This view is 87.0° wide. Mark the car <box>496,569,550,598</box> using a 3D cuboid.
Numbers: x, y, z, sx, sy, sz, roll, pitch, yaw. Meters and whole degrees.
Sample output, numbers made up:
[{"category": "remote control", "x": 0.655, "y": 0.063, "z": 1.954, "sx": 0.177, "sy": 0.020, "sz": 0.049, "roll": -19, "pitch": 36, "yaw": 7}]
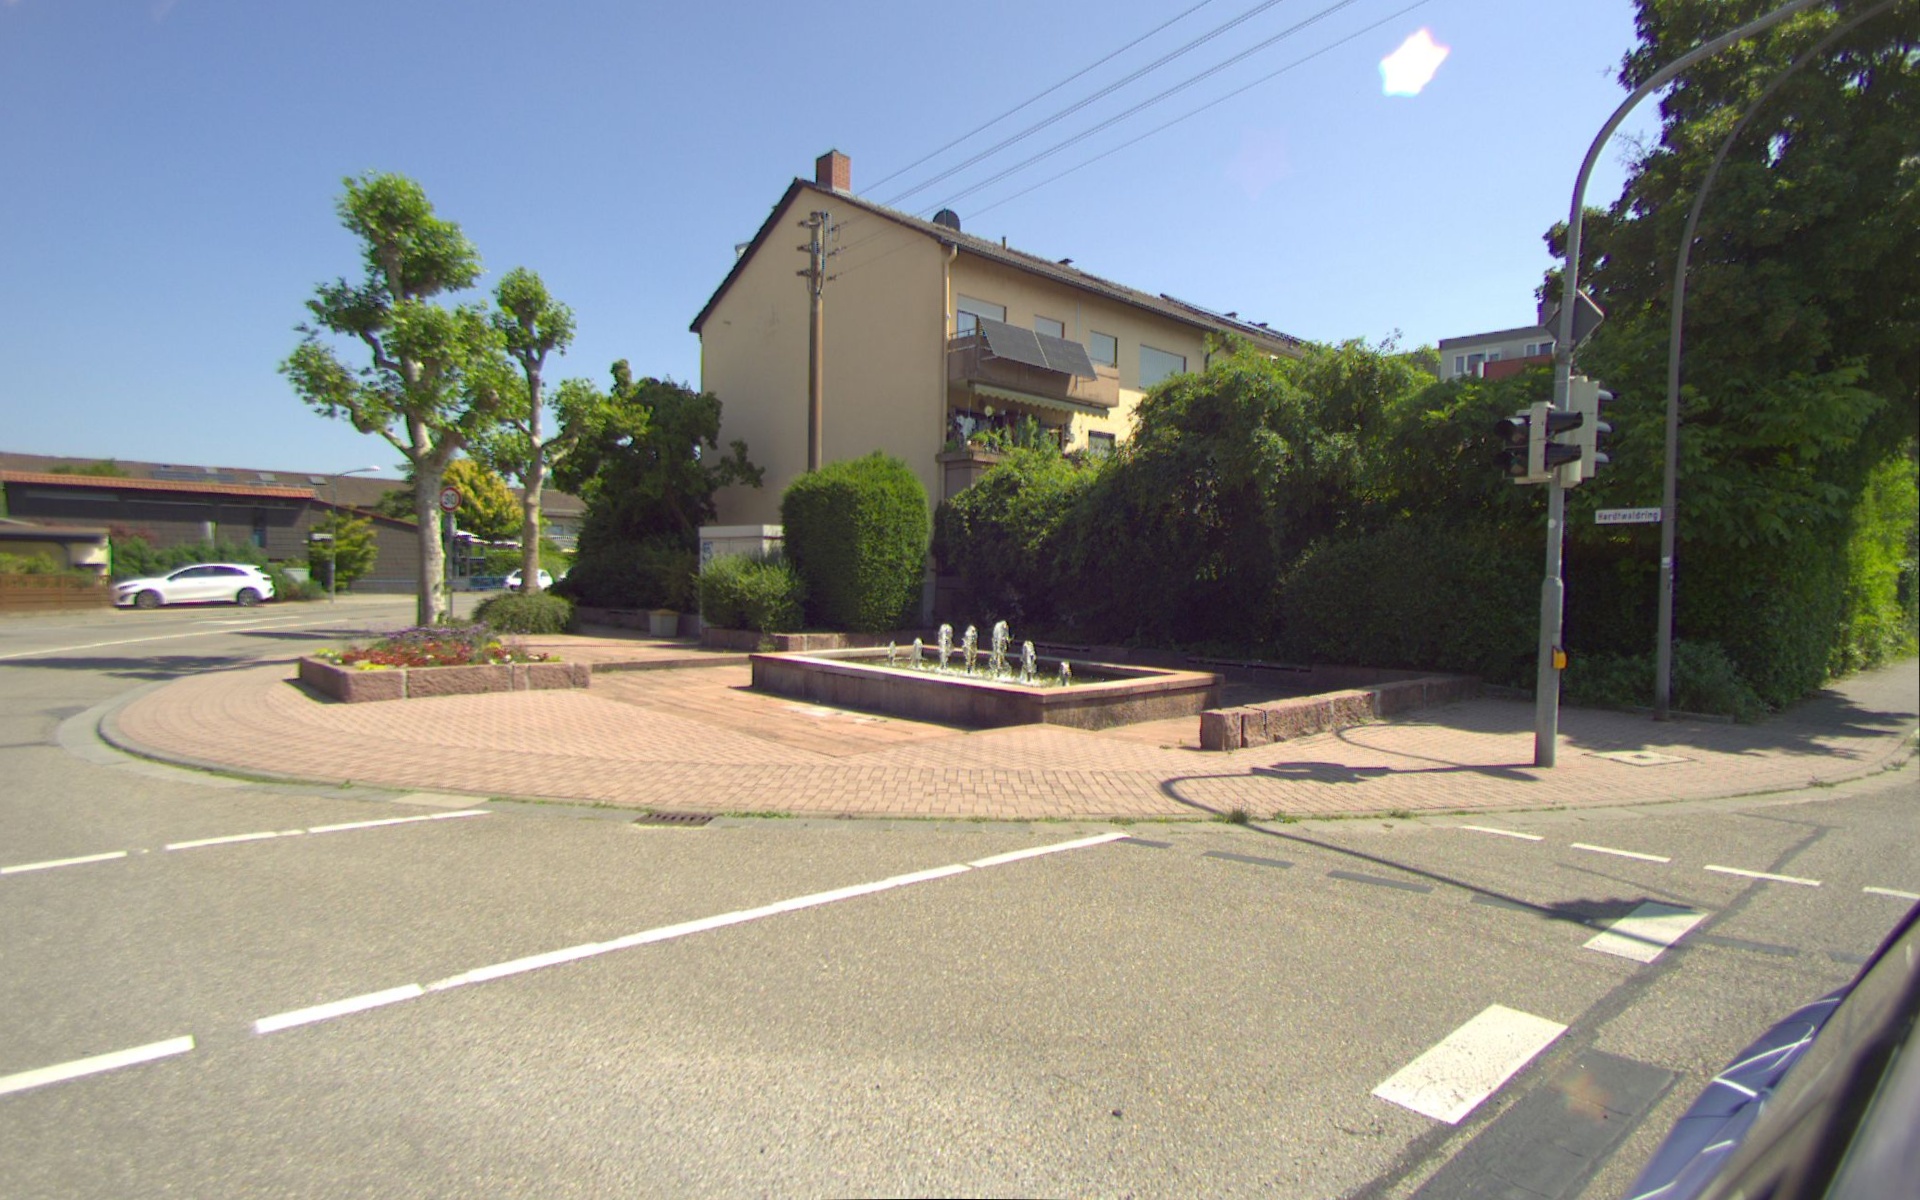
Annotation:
[{"category": "car", "x": -23.628, "y": -0.914, "z": 54.844, "sx": 1.958, "sy": 1.437, "sz": 4.009, "roll": 1, "pitch": 2, "yaw": -12}]

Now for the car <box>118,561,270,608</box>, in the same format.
[{"category": "car", "x": -25.220, "y": -0.512, "z": 33.374, "sx": 3.915, "sy": 1.449, "sz": 1.422, "roll": -1, "pitch": 2, "yaw": -42}]

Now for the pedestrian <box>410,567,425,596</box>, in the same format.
[{"category": "pedestrian", "x": -25.133, "y": -0.865, "z": 46.924, "sx": 0.531, "sy": 1.331, "sz": 0.432, "roll": 1, "pitch": 1, "yaw": -18}]
